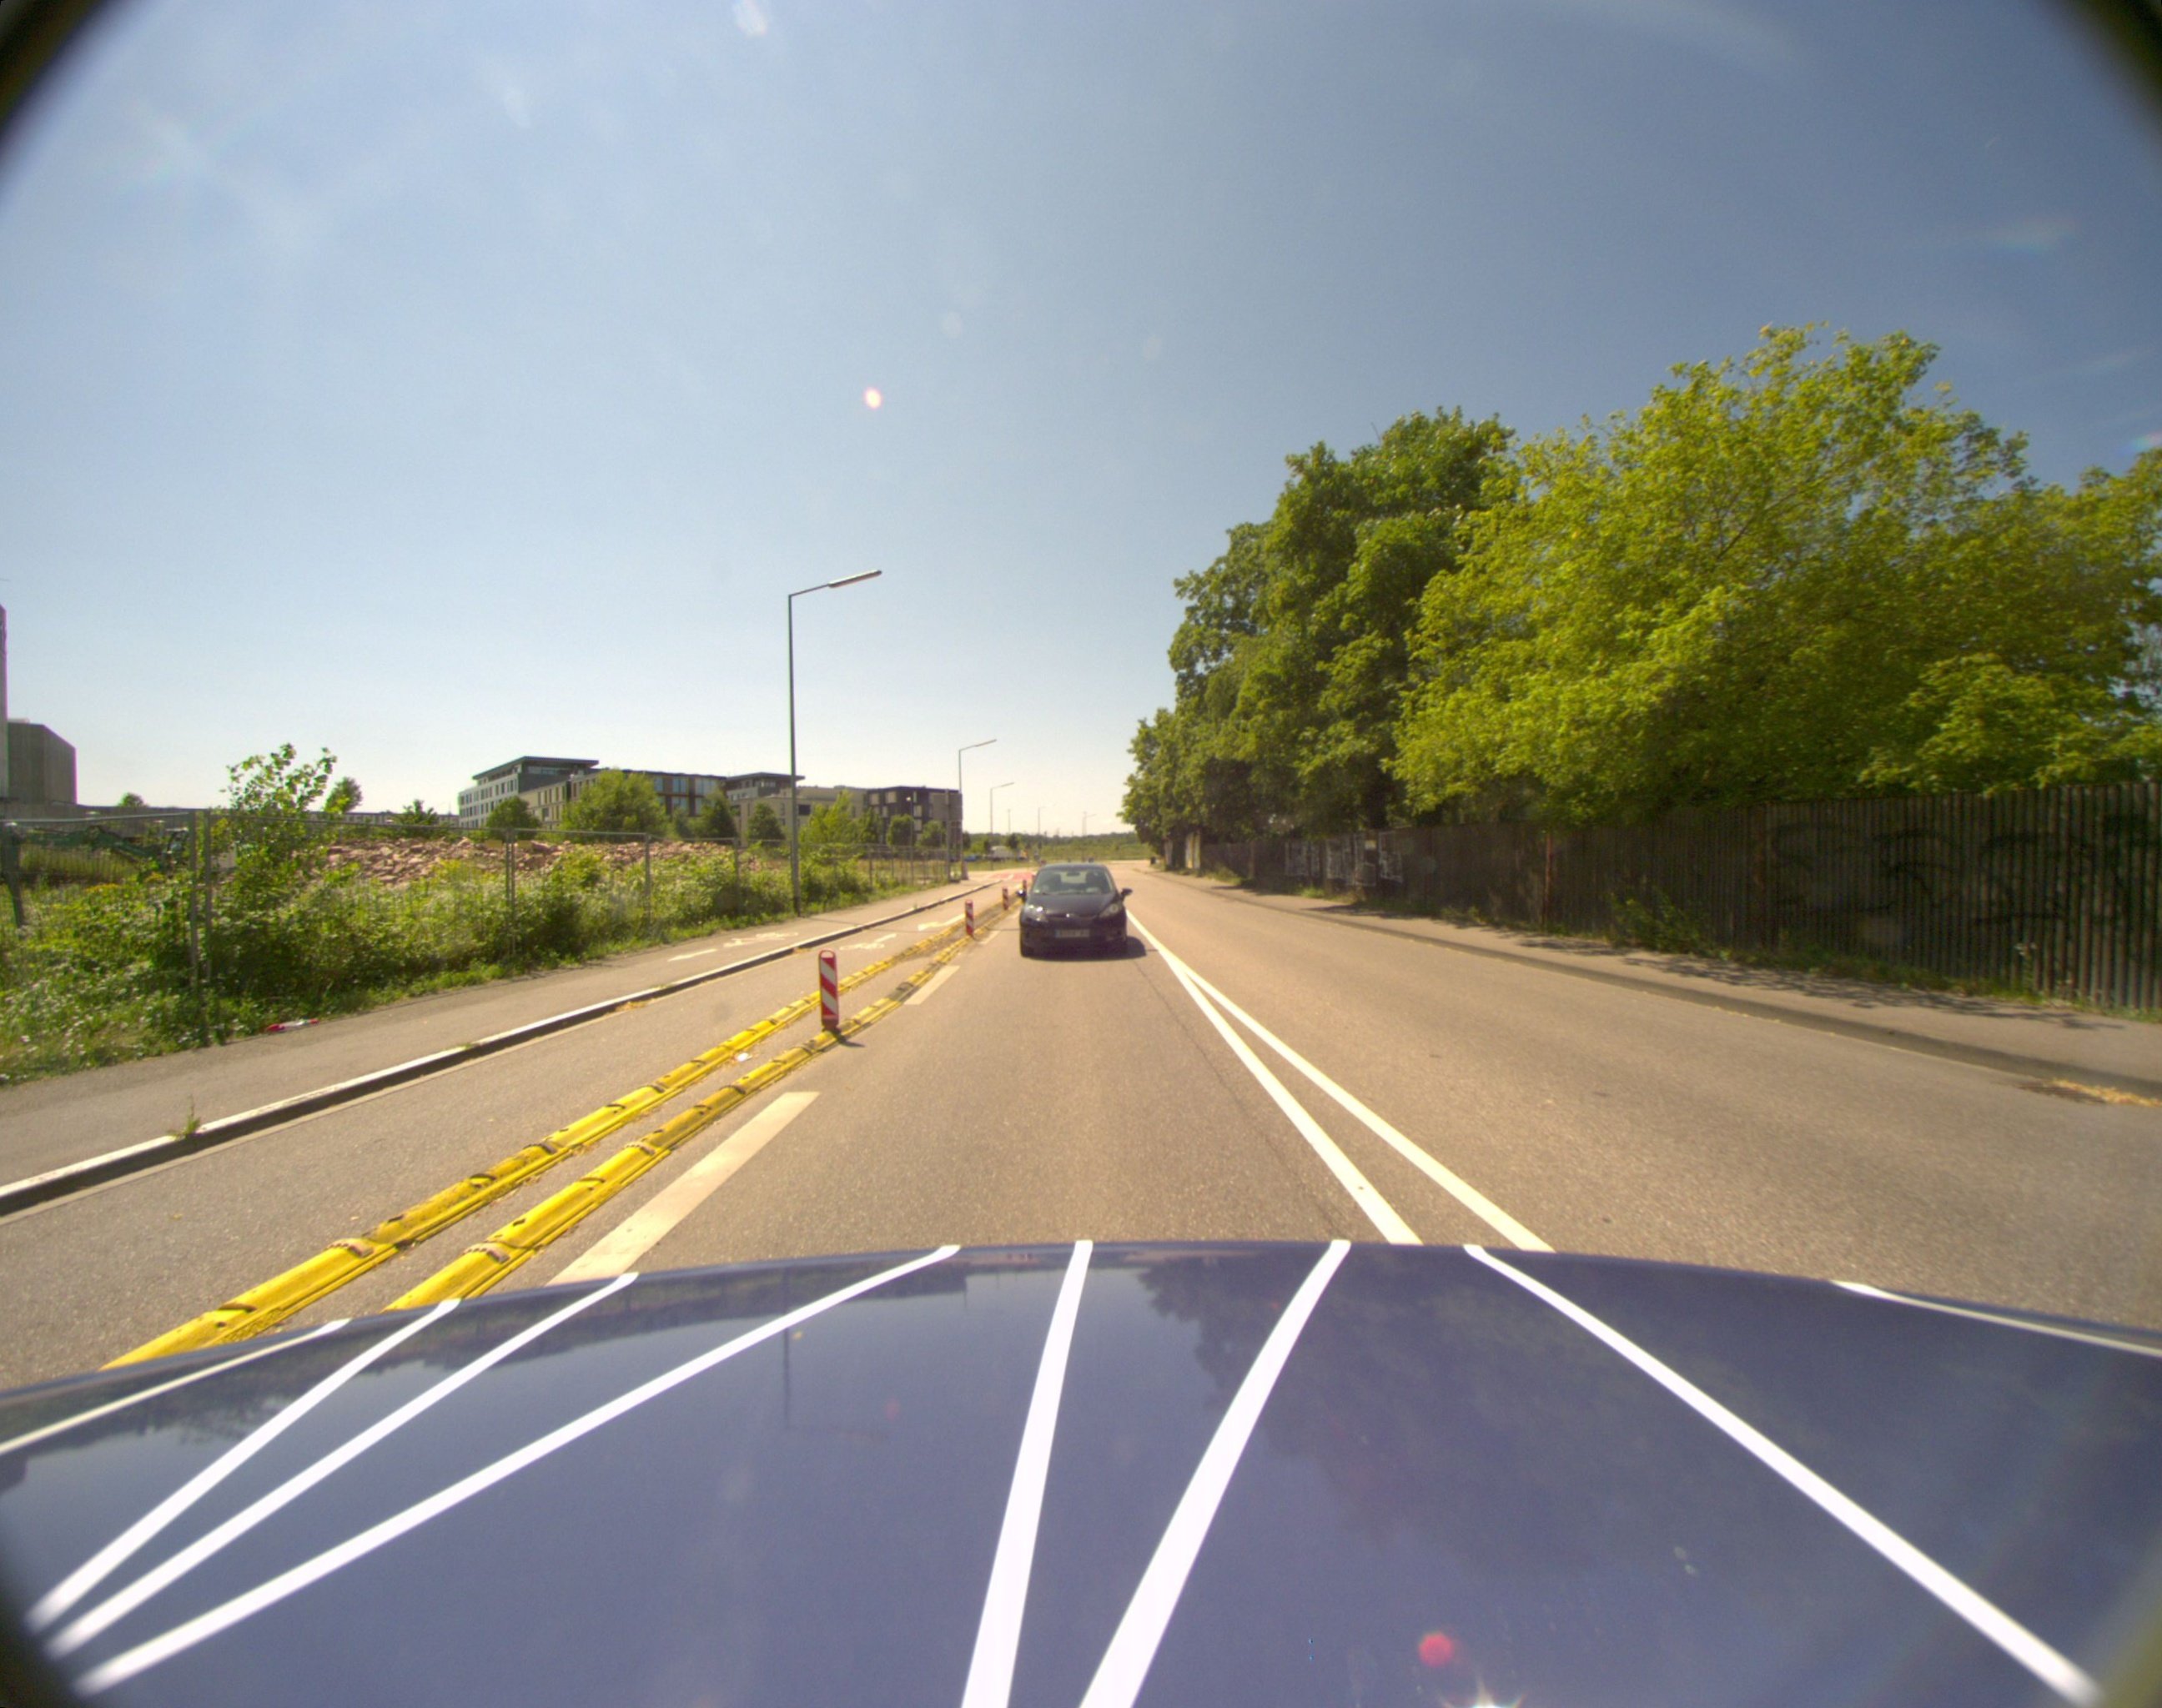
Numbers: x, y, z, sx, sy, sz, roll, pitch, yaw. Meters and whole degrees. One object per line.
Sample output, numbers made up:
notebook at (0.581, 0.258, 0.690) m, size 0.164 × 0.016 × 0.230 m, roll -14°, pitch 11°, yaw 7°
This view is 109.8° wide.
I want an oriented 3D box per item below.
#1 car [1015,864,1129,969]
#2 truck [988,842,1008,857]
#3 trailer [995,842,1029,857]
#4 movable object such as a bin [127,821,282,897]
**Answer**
car at (-0.113, 0.935, 13.040) m, size 1.602 × 1.422 × 4.000 m, roll -2°, pitch 0°, yaw 0°
truck at (-18.177, -1.022, 166.815) m, size 4.008 × 3.316 × 1.994 m, roll -1°, pitch 1°, yaw -45°
trailer at (-15.424, -1.033, 169.559) m, size 8.193 × 3.329 × 1.994 m, roll -1°, pitch 1°, yaw -45°
movable object such as a bin at (-37.745, 0.191, 32.875) m, size 2.205 × 3.045 × 3.690 m, roll -2°, pitch 1°, yaw 6°
